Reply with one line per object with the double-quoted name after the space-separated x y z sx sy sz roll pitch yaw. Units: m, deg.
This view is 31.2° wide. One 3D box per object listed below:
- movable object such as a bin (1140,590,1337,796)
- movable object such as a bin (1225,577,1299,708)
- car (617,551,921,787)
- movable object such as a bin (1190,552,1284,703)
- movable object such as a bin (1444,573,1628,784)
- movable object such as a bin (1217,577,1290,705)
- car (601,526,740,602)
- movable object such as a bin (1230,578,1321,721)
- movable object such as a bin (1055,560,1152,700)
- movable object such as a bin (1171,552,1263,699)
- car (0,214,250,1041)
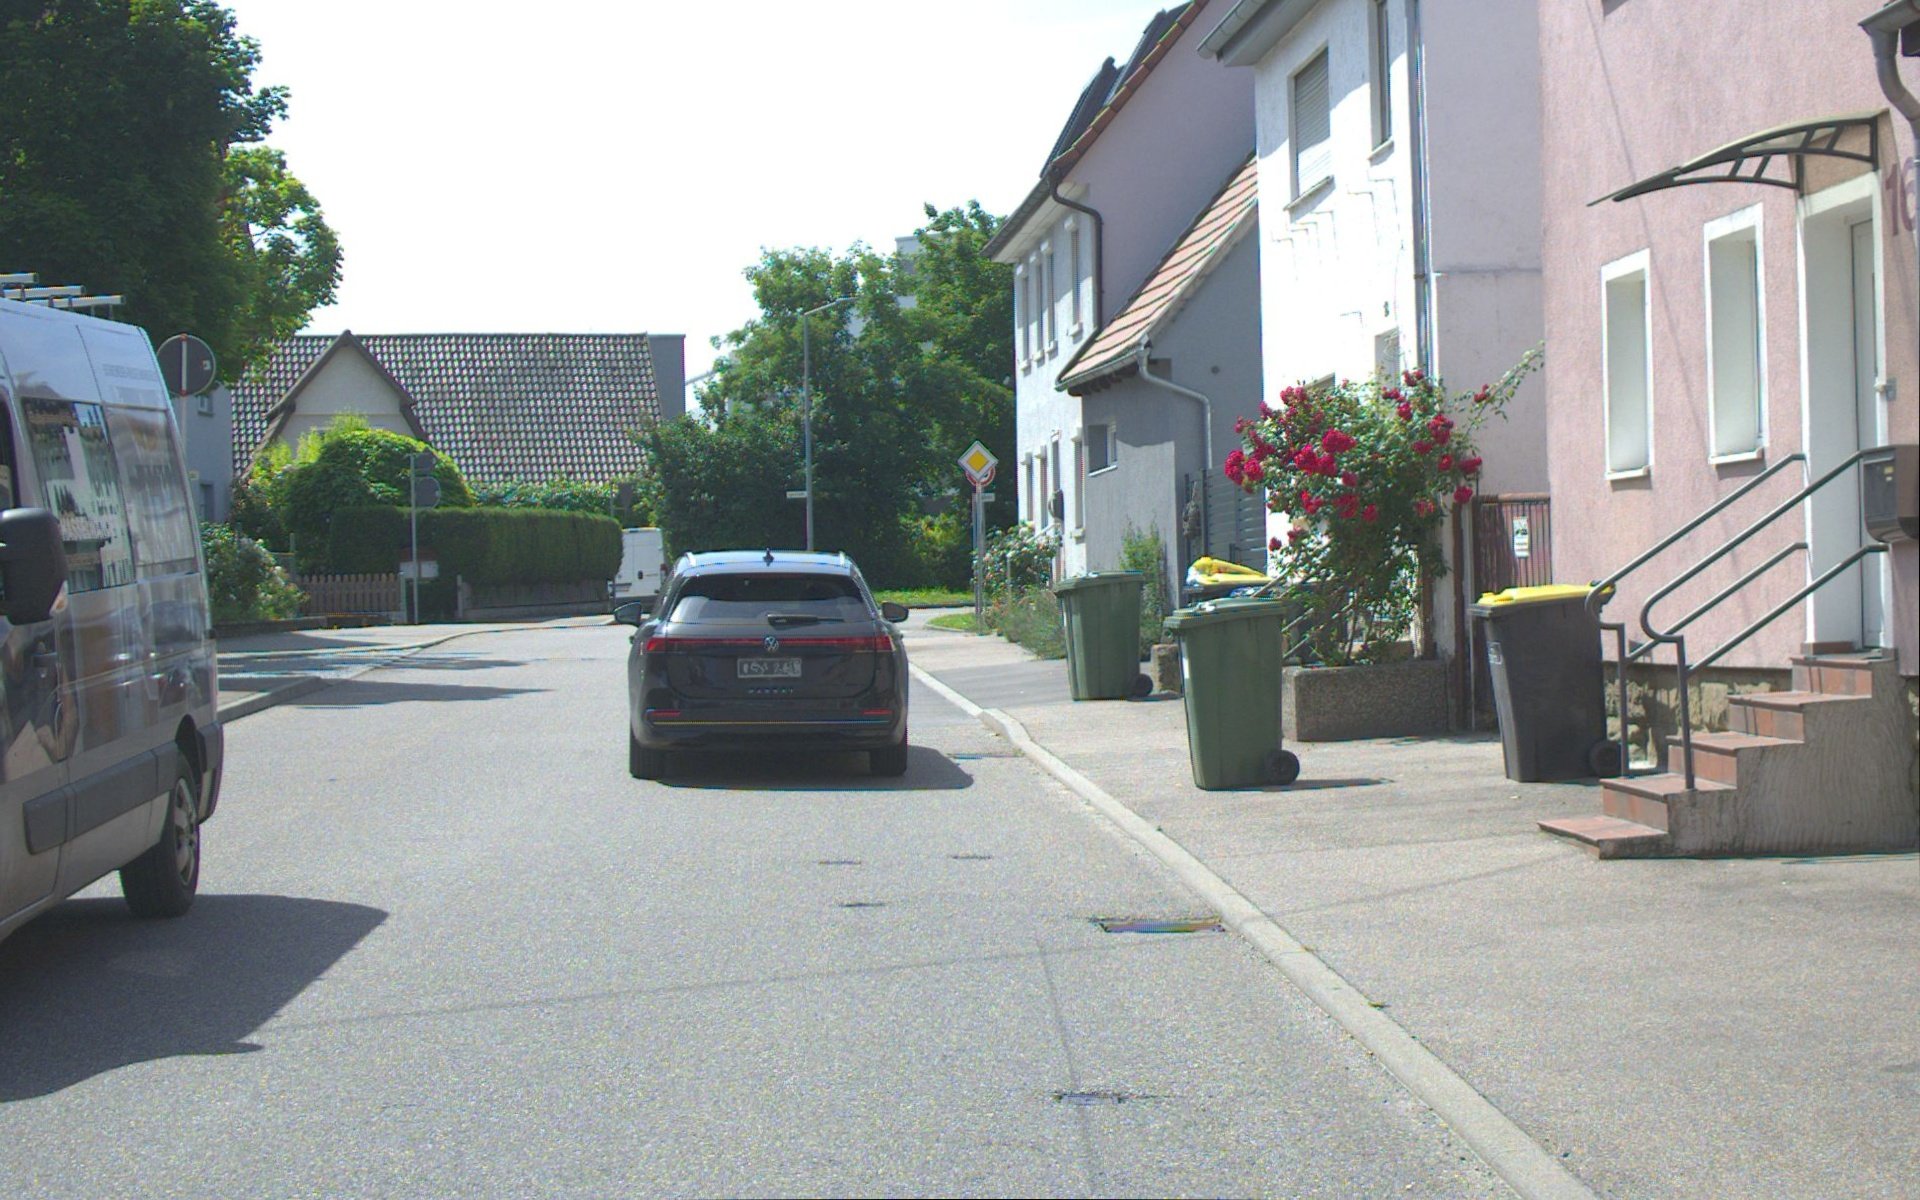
1.589 0.520 19.752 0.875 1.071 0.873 -5 2 -7 "movable object such as a bin"
2.334 0.324 26.598 0.503 0.990 0.442 -1 1 -4 "movable object such as a bin"
-1.384 0.393 23.333 1.841 1.415 4.683 -1 1 -5 "car"
2.234 0.214 27.739 0.665 1.190 0.588 -1 1 -4 "movable object such as a bin"
3.108 0.413 18.603 0.678 1.046 0.835 -5 2 -7 "movable object such as a bin"
2.318 0.318 27.202 0.503 0.990 0.442 -1 1 -4 "movable object such as a bin"
-7.899 -1.008 94.404 2.129 2.007 4.934 0 1 17 "car"
2.347 0.360 25.618 0.592 1.036 0.530 -1 1 -4 "movable object such as a bin"
1.204 0.245 28.906 0.678 1.151 0.820 0 1 -8 "movable object such as a bin"
2.133 0.206 28.614 0.665 1.190 0.660 -1 1 -4 "movable object such as a bin"
-4.107 0.060 12.263 2.114 2.554 5.828 -2 1 -3 "car"
